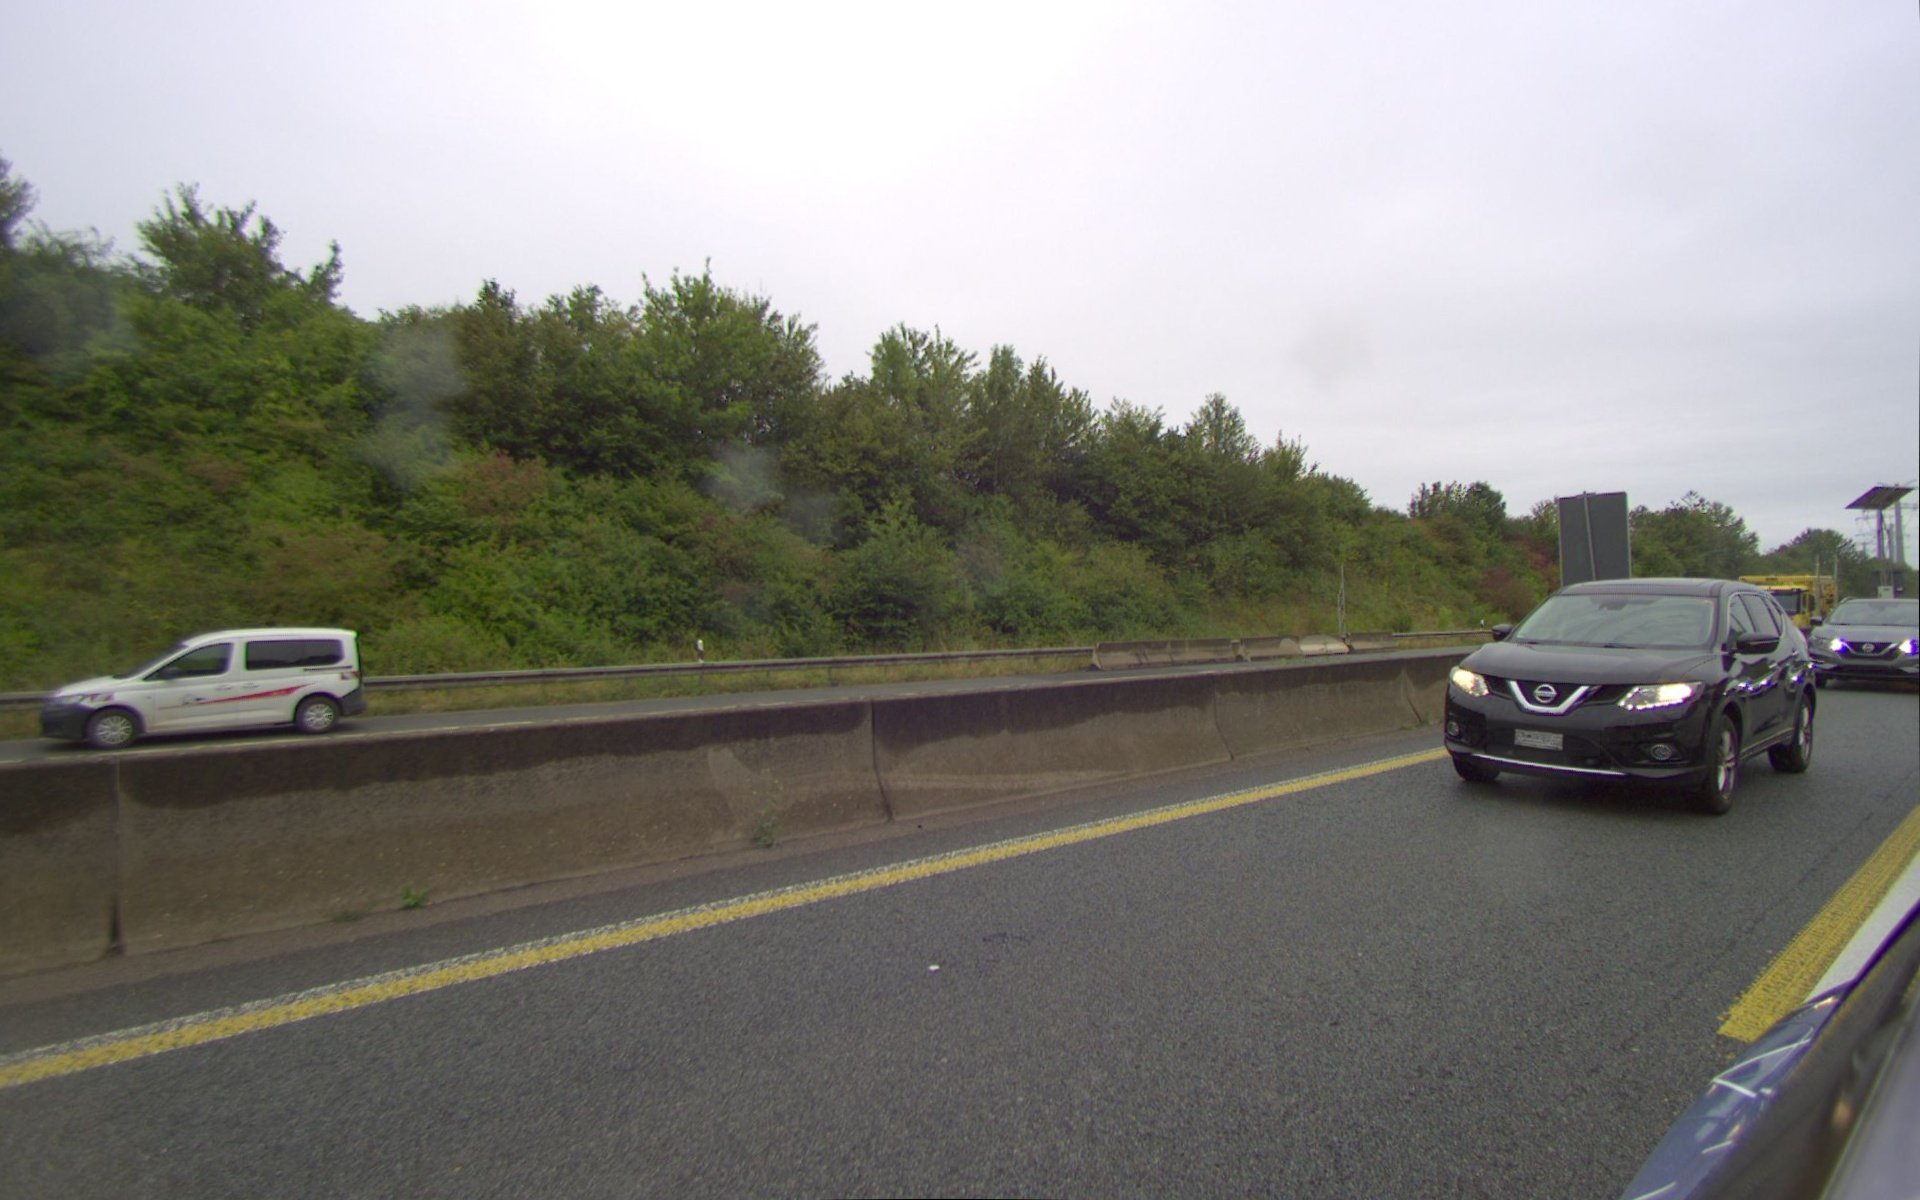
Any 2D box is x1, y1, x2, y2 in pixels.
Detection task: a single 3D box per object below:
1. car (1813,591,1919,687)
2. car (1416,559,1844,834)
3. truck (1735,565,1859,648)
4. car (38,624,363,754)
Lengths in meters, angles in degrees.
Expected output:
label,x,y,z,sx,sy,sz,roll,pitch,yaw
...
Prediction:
label,x,y,z,sx,sy,sz,roll,pitch,yaw
car,16.507,0.613,17.777,4.053,1.509,1.782,-1,1,-42
car,5.776,0.566,8.472,4.561,1.696,1.892,-1,1,-42
truck,38.302,0.211,46.151,9.404,3.467,2.618,-1,0,-39
car,-12.709,1.372,17.137,4.255,1.792,1.731,-1,1,-42
